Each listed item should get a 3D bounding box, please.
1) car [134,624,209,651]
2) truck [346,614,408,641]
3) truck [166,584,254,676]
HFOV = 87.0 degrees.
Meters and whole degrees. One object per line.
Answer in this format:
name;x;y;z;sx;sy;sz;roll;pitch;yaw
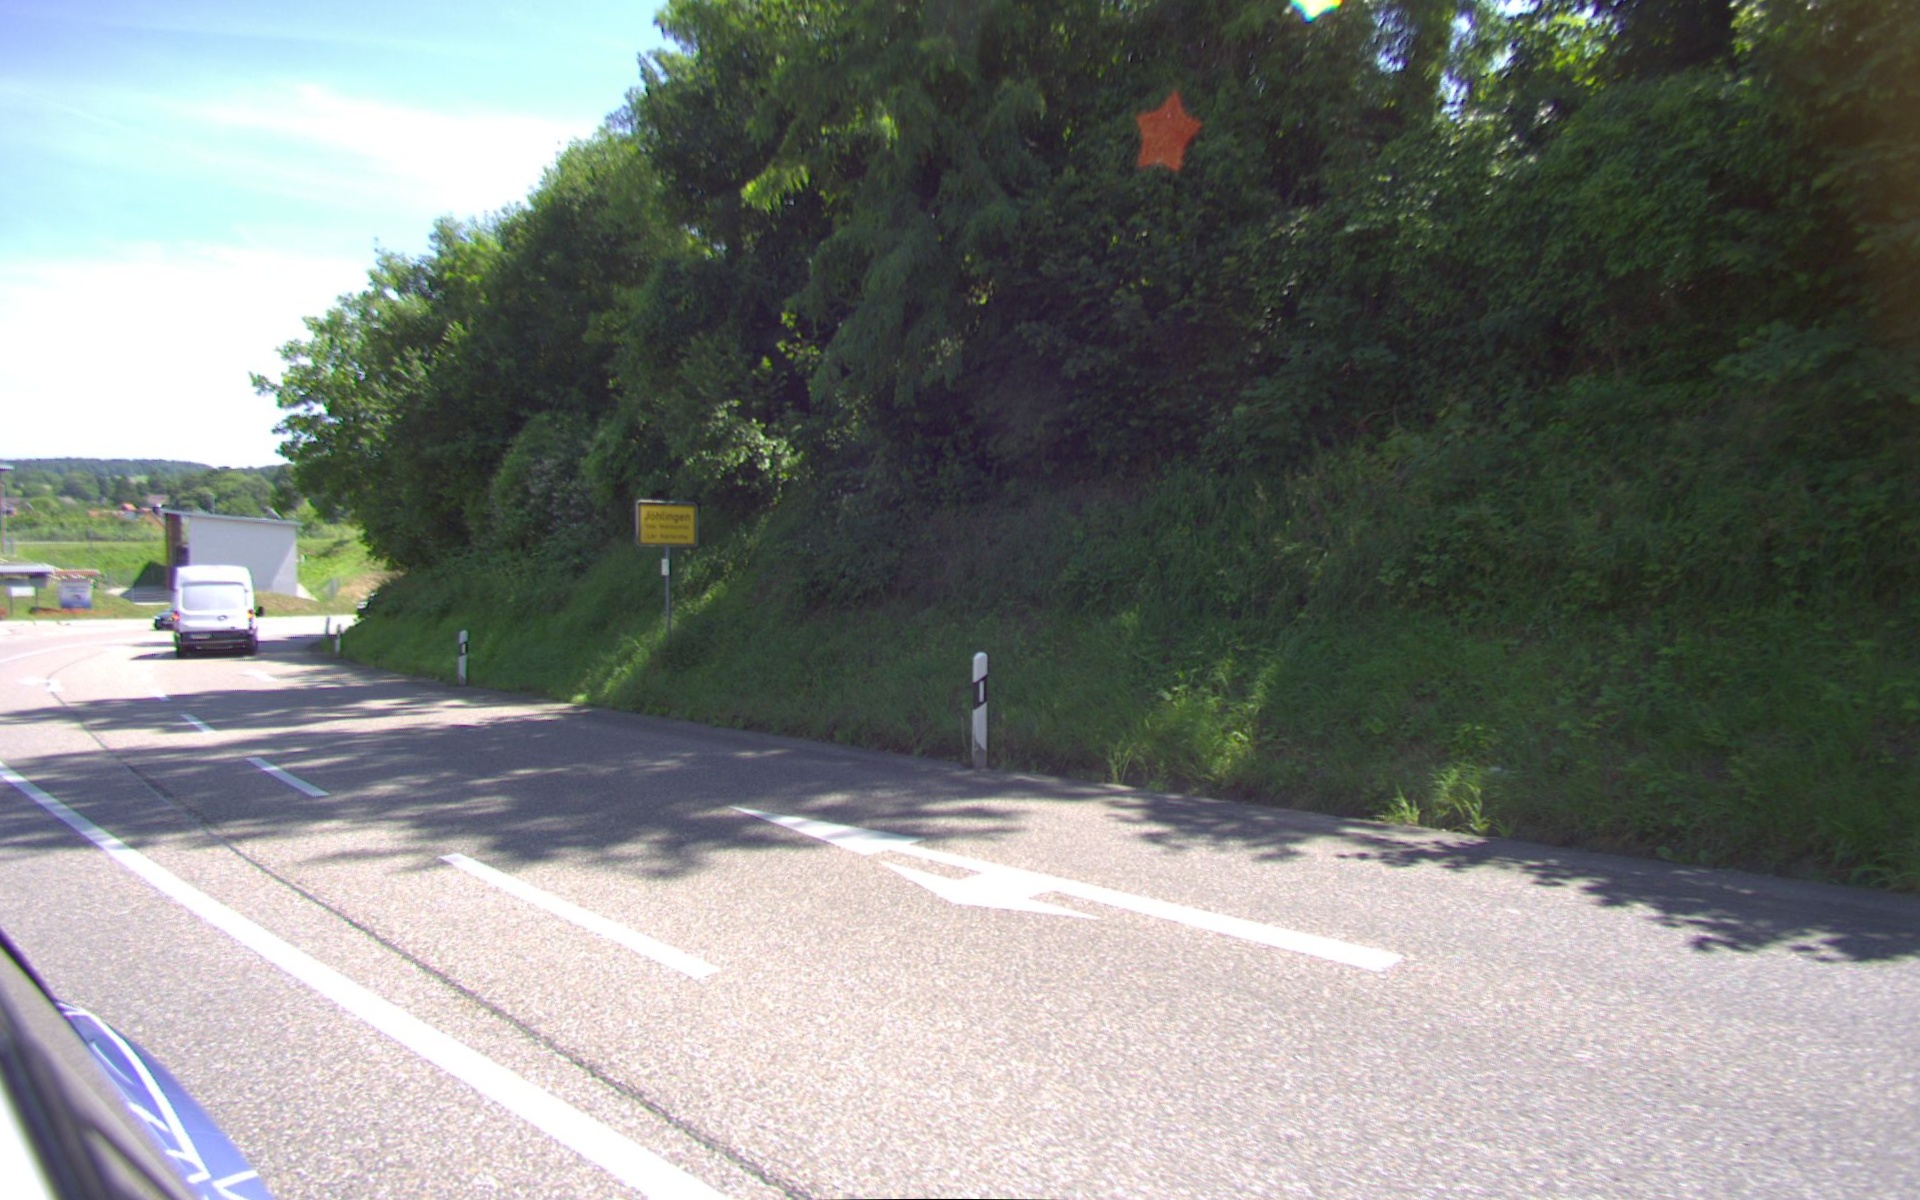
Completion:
car;-42.149;1.999;54.215;1.726;1.298;4.157;3;-2;-16
truck;-45.001;2.102;78.259;2.042;2.028;5.248;0;-1;-3
truck;-24.140;0.966;32.642;2.026;2.707;5.994;2;-2;-36
